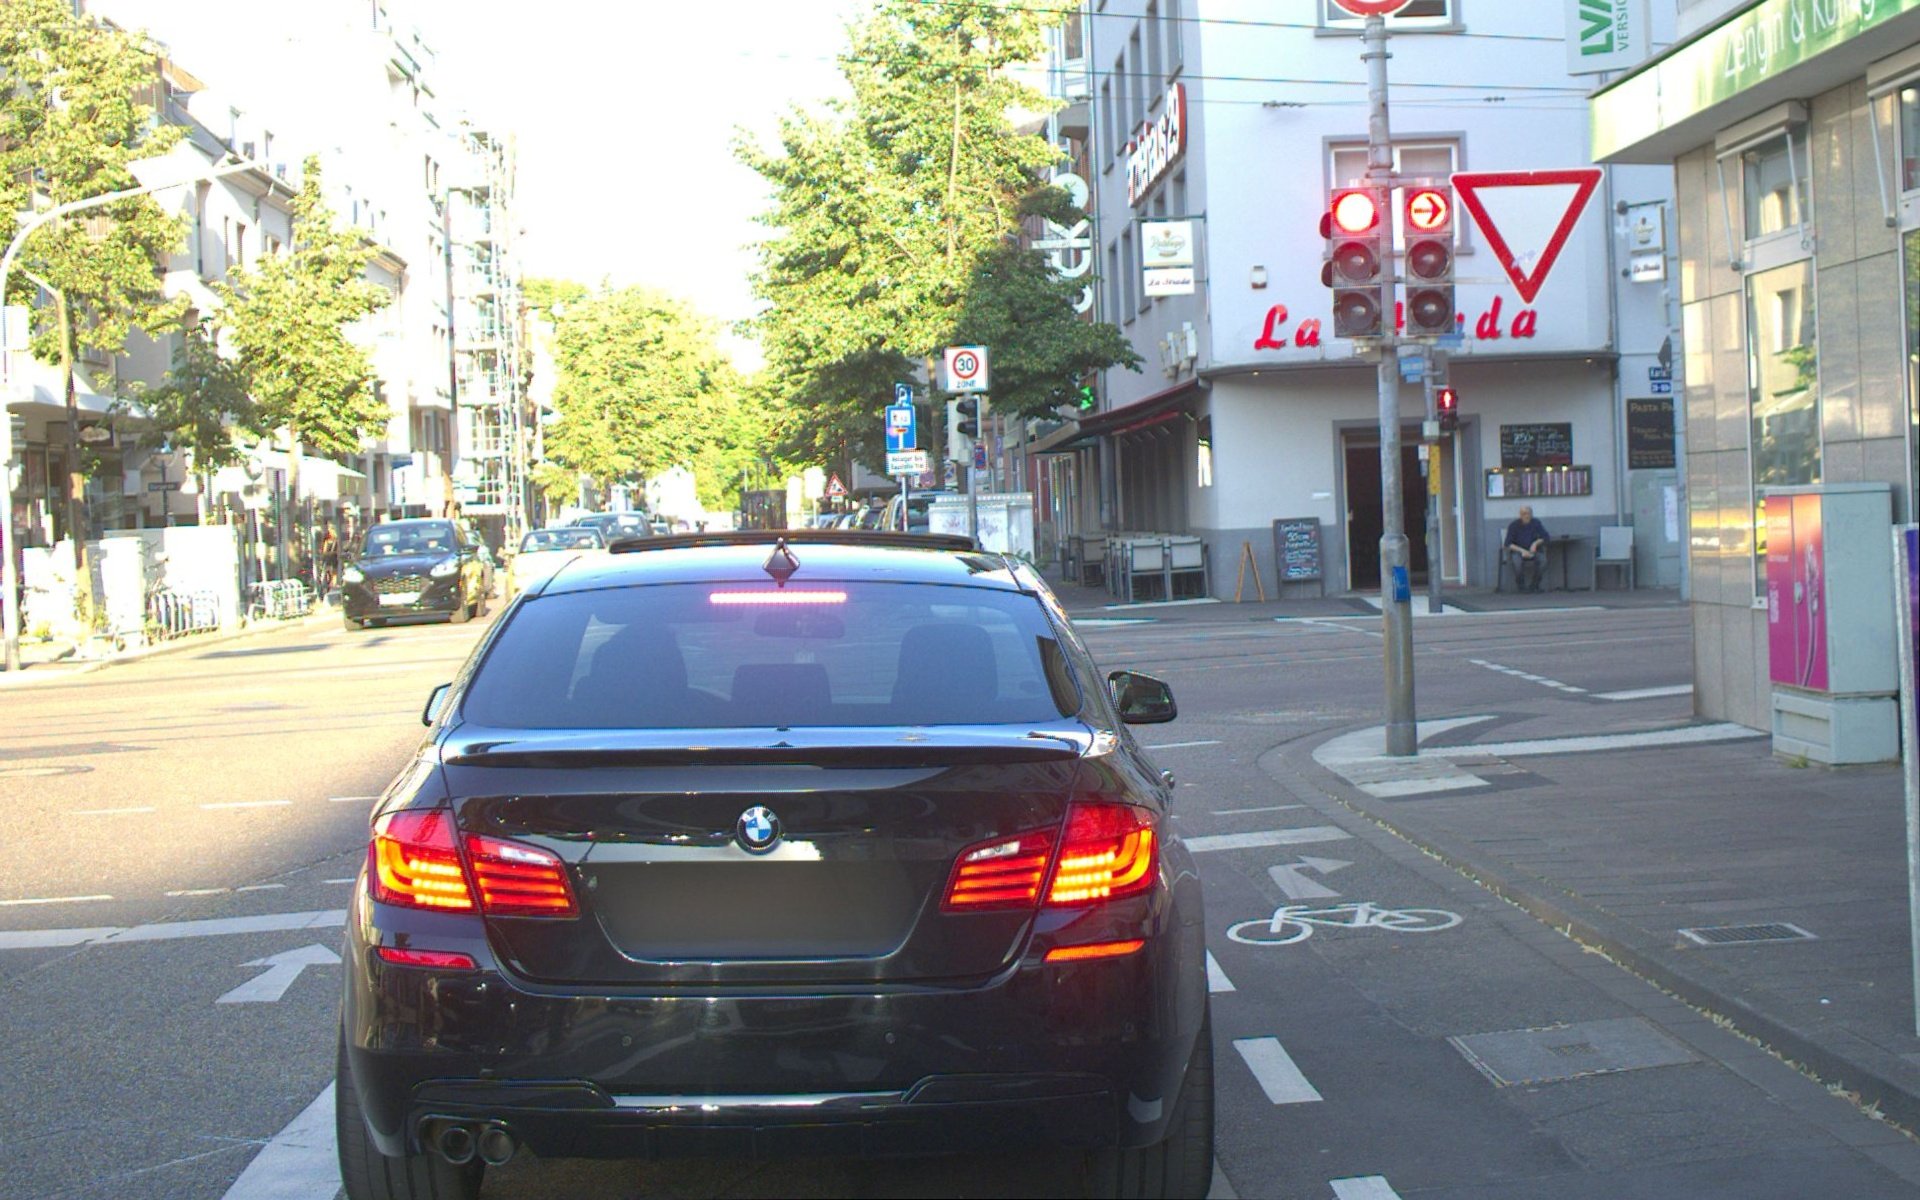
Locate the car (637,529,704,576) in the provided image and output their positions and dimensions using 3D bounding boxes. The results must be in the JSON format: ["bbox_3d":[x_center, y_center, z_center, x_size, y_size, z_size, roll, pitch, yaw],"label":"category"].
[{"bbox_3d":[-8.509,-1.401,100.666,1.733,1.288,4.001,-2,1,-7],"label":"car"}]

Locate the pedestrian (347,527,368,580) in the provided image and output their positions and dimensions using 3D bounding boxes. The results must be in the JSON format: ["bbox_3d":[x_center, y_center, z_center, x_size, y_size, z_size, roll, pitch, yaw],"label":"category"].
[{"bbox_3d":[-16.171,-1.247,92.293,0.444,1.411,0.525,-2,1,-4],"label":"pedestrian"}]

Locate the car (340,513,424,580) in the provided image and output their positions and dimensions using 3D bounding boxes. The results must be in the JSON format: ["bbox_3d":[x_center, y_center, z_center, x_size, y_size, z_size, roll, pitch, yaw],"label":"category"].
[{"bbox_3d":[-13.429,-1.265,80.025,1.733,1.456,4.001,-2,1,-7],"label":"car"}]

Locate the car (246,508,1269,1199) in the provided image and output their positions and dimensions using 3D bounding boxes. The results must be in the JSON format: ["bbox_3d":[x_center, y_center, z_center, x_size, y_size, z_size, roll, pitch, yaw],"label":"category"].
[{"bbox_3d":[-0.483,0.542,8.645,1.903,1.535,4.450,0,2,-3],"label":"car"}]

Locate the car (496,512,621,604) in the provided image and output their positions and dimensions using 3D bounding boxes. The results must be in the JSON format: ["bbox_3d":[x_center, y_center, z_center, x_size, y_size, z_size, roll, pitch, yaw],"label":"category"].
[{"bbox_3d":[-6.876,-0.736,58.681,1.993,1.437,4.001,-2,1,-7],"label":"car"}]

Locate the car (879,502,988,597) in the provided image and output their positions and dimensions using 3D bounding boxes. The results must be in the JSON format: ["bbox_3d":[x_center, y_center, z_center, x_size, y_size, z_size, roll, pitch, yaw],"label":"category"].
[{"bbox_3d":[-0.453,-0.814,55.605,1.625,1.466,3.395,-1,1,-2],"label":"car"}]

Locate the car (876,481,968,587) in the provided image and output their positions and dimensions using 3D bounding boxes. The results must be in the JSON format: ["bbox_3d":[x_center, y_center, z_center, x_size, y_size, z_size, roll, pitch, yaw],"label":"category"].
[{"bbox_3d":[-0.702,-1.185,61.999,1.421,1.848,3.053,-1,1,-5],"label":"car"}]

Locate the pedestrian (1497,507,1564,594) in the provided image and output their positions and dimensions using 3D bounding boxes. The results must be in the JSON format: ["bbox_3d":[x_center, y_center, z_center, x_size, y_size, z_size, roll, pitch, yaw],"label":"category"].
[{"bbox_3d":[7.852,-0.682,47.311,0.697,1.153,0.844,-2,1,-3],"label":"pedestrian"}]

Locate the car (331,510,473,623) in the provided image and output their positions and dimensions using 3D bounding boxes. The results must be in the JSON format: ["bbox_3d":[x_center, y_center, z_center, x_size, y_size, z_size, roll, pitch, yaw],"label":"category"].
[{"bbox_3d":[-8.595,-0.538,53.238,1.993,1.612,4.001,-2,1,-7],"label":"car"}]

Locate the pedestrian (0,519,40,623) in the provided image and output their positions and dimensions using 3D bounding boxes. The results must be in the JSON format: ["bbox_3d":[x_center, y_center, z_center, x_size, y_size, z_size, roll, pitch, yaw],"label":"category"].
[{"bbox_3d":[-15.682,-0.477,56.575,0.823,1.670,0.871,-2,1,-3],"label":"pedestrian"}]

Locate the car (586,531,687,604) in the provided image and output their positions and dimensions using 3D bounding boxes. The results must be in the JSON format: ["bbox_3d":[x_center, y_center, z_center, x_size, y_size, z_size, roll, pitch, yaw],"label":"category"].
[{"bbox_3d":[-6.189,-0.636,65.457,1.733,1.288,4.001,-2,1,-7],"label":"car"}]

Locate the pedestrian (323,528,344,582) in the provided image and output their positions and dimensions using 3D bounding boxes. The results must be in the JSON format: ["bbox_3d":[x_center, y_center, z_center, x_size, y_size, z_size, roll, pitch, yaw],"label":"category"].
[{"bbox_3d":[-16.634,-1.208,91.277,0.444,1.411,0.525,-2,1,-4],"label":"pedestrian"}]
